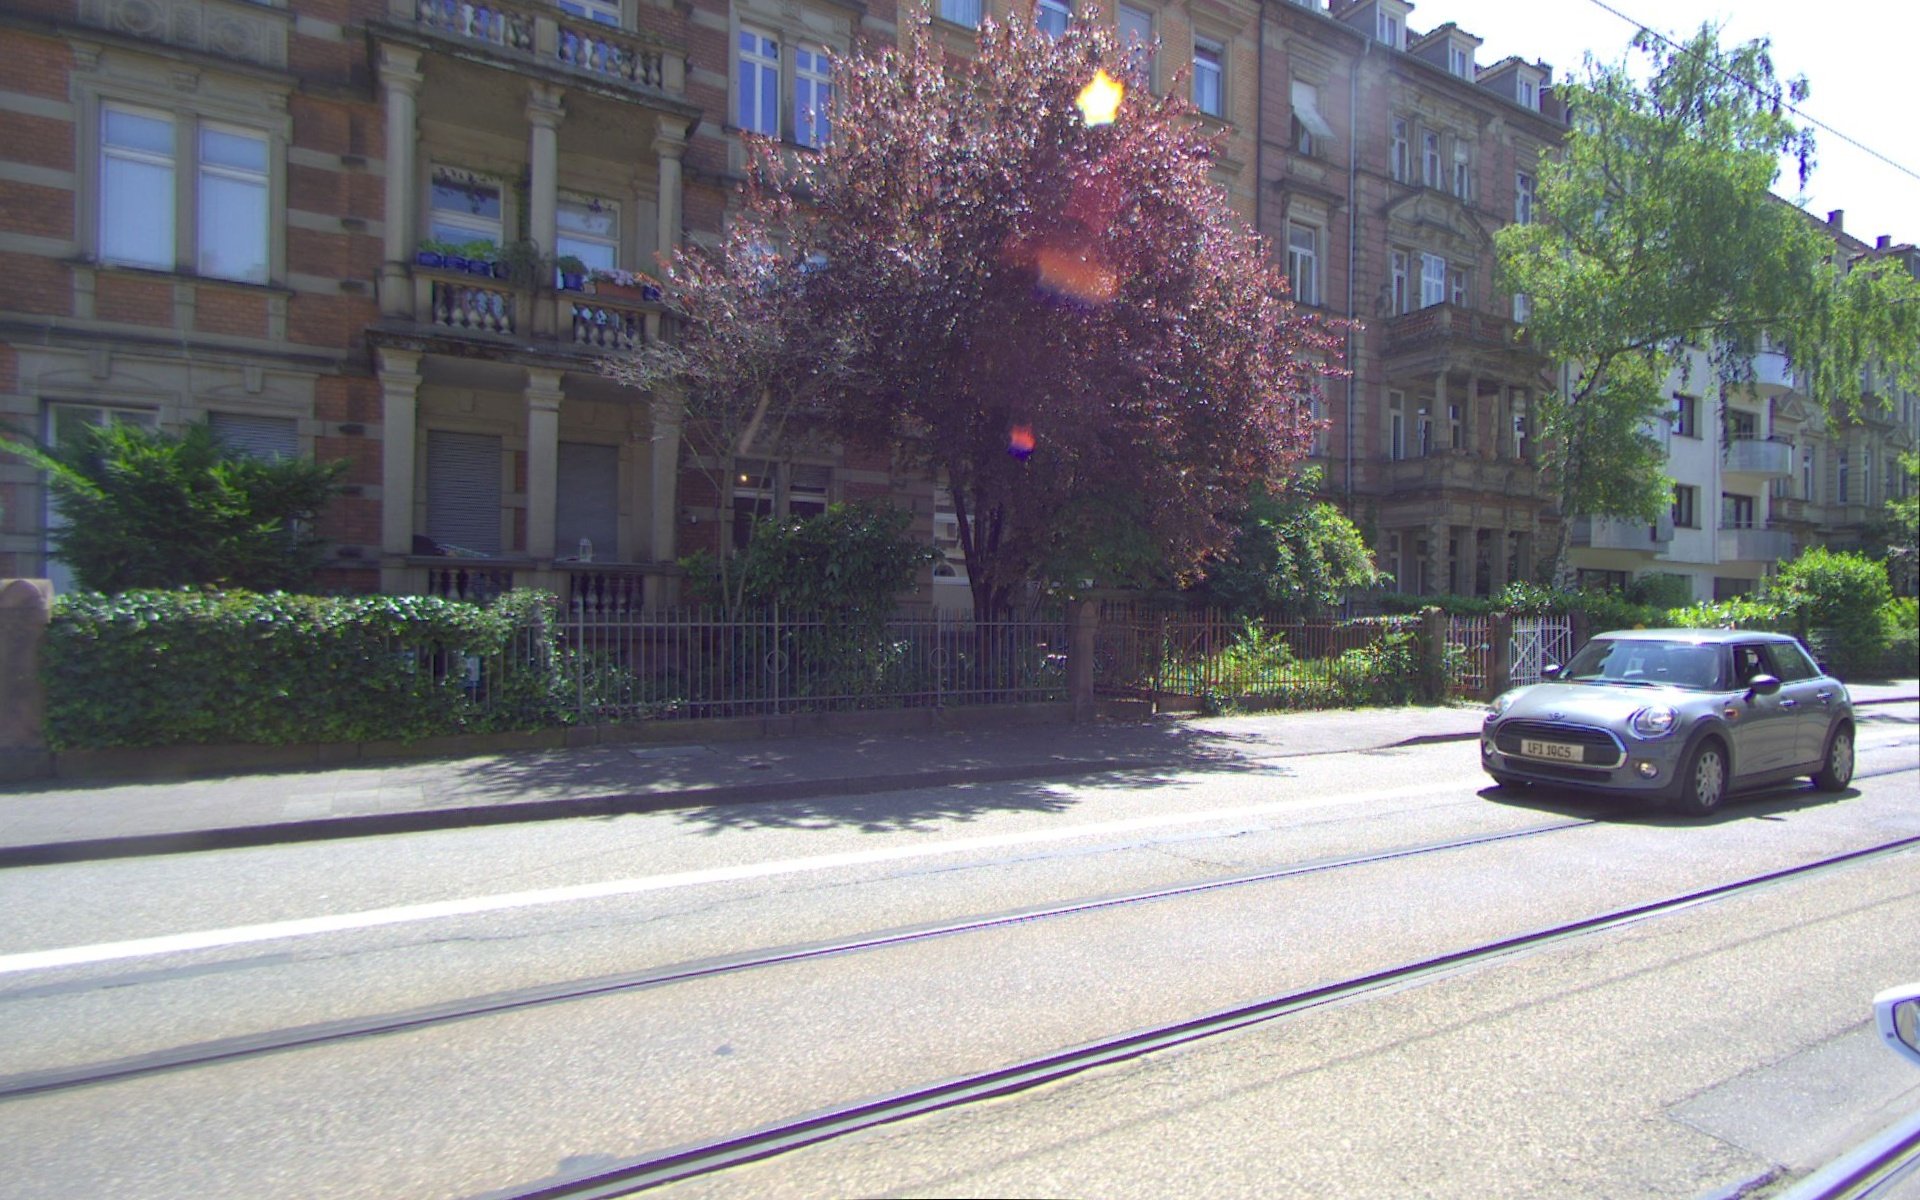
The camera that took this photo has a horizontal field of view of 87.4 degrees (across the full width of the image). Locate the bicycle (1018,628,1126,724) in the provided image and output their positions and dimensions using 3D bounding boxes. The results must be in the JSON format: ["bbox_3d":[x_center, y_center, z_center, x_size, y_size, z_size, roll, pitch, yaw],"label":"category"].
[{"bbox_3d":[1.603,1.067,14.583,0.506,1.203,1.594,0,3,-42],"label":"bicycle"}]

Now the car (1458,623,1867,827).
[{"bbox_3d":[6.384,0.966,9.060,3.705,1.474,1.678,1,-1,-31],"label":"car"}]
